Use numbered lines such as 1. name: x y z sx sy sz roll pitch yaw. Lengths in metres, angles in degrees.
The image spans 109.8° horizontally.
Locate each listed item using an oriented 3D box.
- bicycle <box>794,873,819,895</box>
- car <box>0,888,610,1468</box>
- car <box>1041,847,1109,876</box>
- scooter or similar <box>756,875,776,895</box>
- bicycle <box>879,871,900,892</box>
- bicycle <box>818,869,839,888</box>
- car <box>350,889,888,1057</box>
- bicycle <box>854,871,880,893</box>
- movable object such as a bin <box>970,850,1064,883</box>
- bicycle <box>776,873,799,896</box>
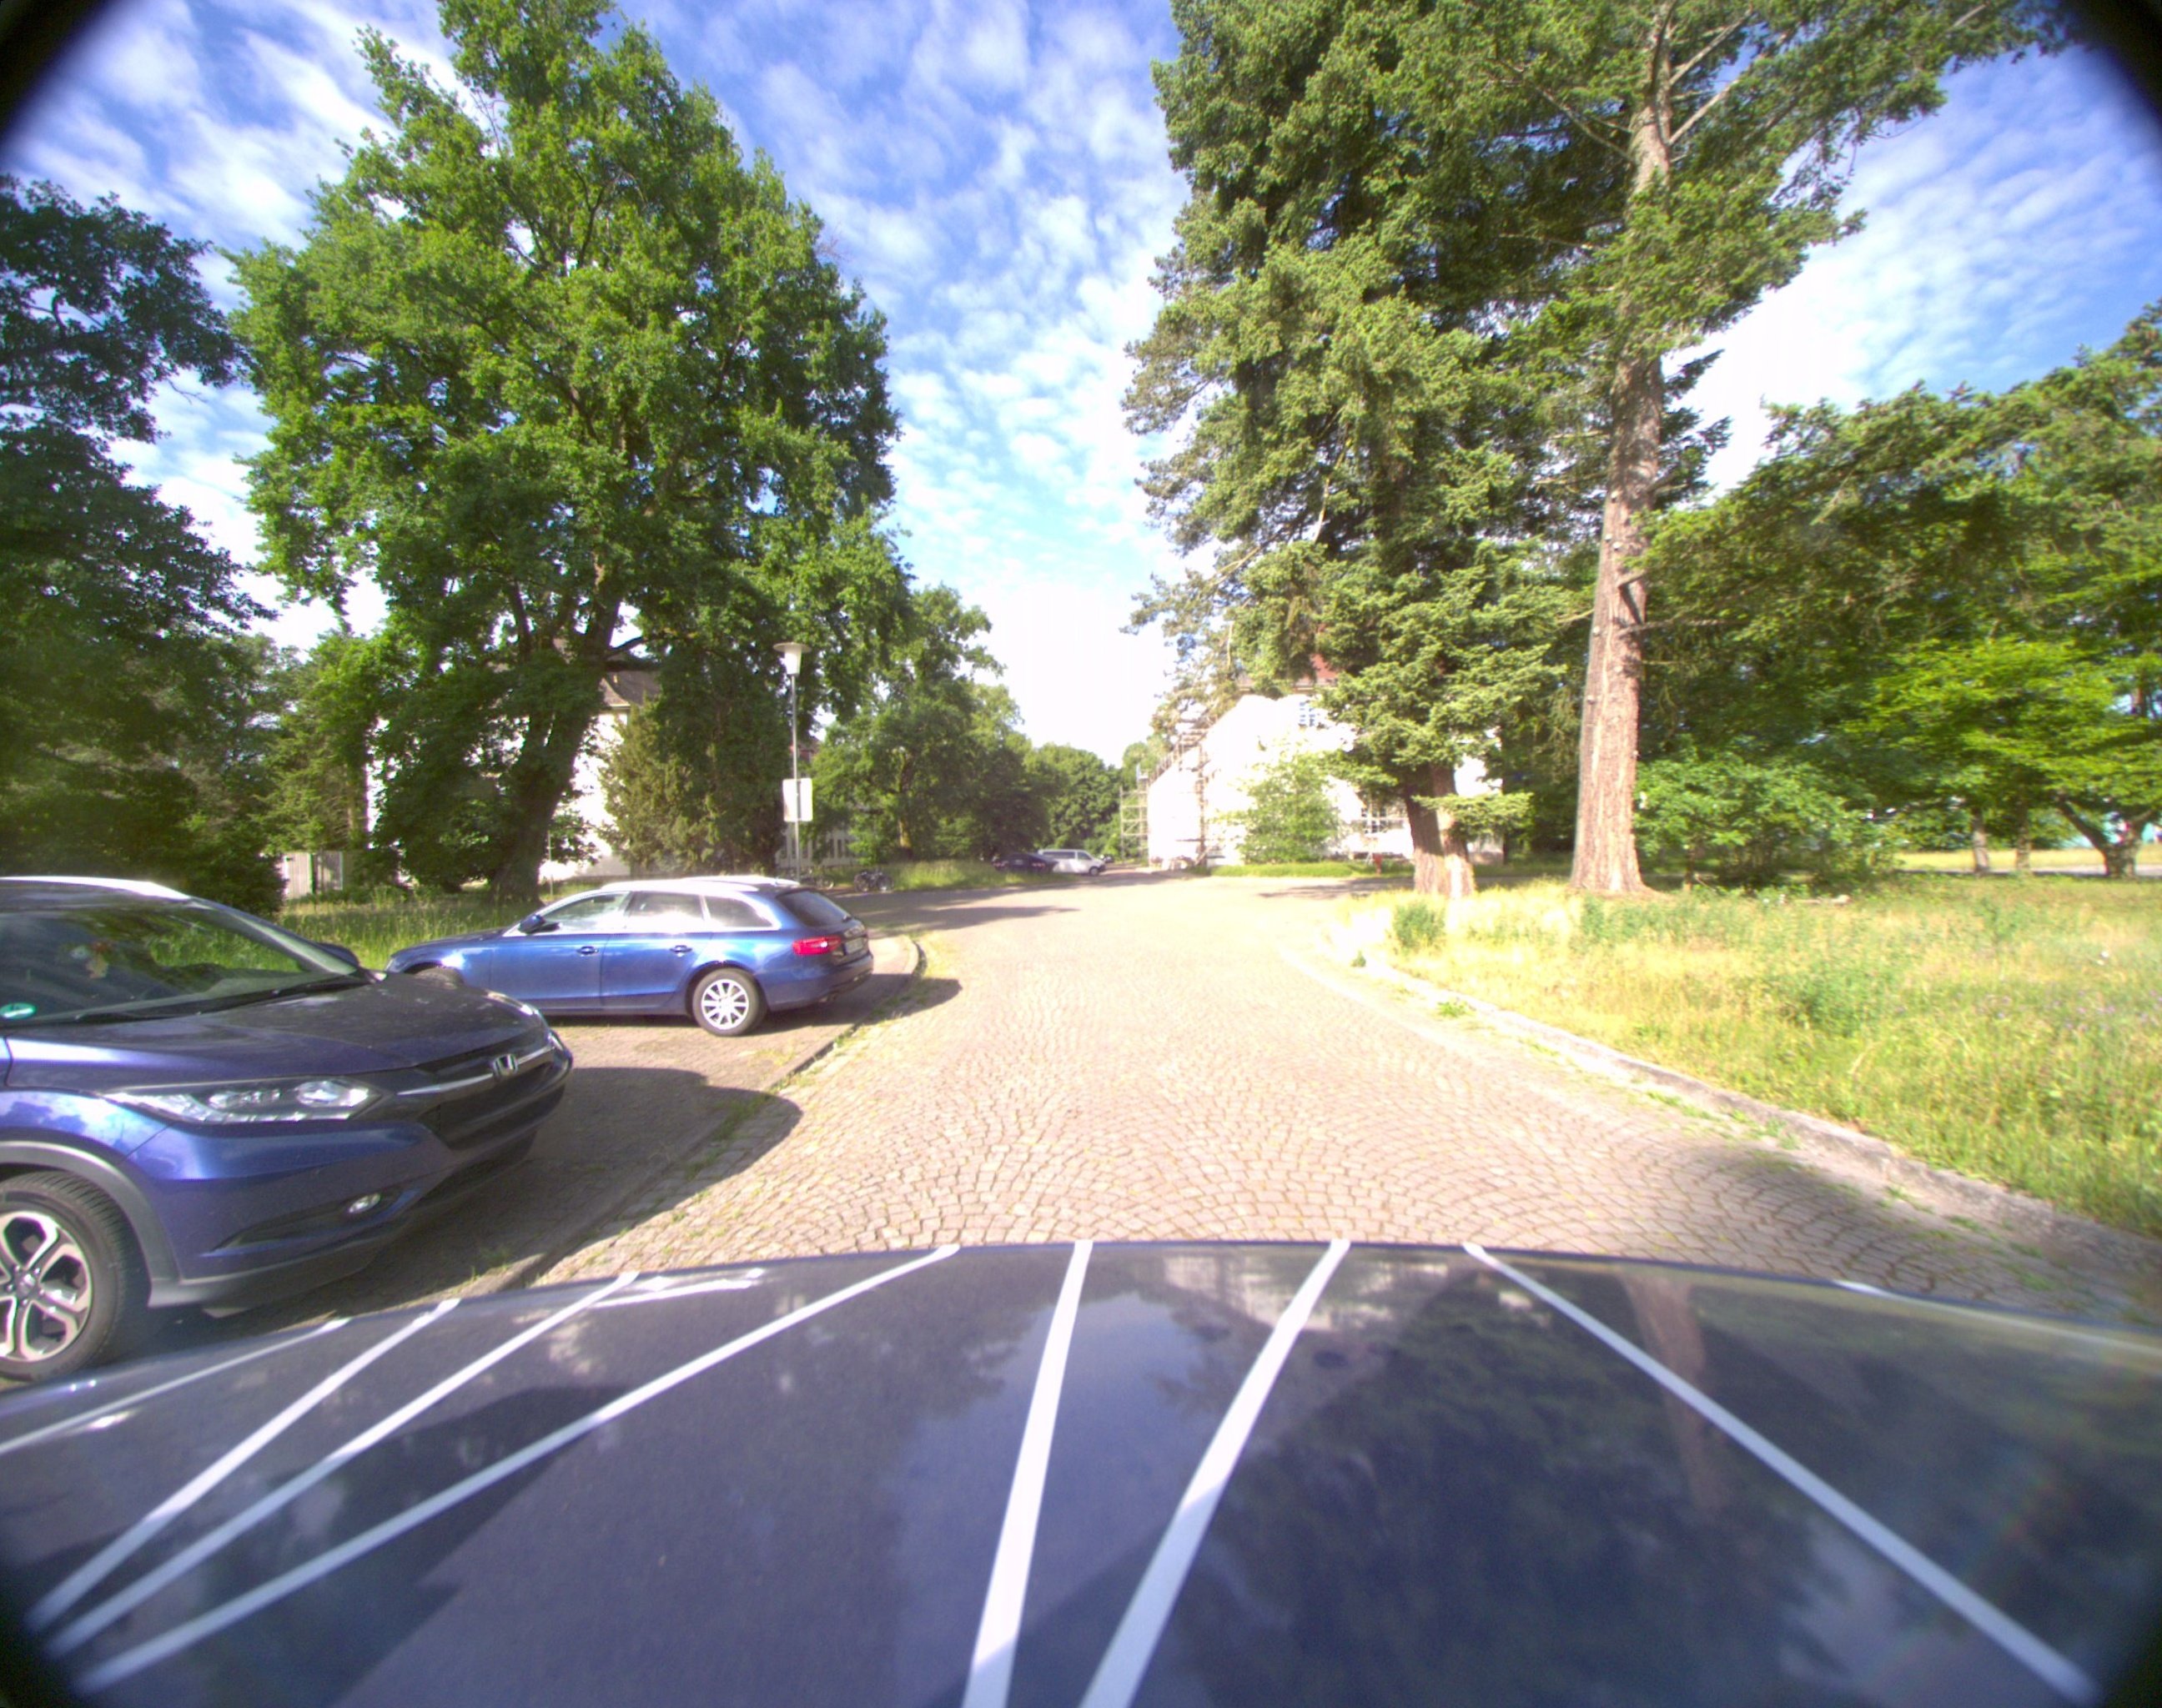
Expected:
1. bicycle: -13.364 1.434 36.986 0.710 1.010 1.028 -1 0 7
2. car: -4.559 1.017 3.048 4.187 1.581 1.751 -1 0 -1
3. car: -0.438 0.516 56.634 4.937 2.002 2.000 -1 0 0
4. scooter or similar: -14.859 1.461 35.841 0.770 0.924 0.261 -1 1 -6
5. bicycle: -9.258 1.323 36.734 0.747 0.929 1.140 -1 0 -3
6. bicycle: -13.660 1.313 41.105 0.712 1.010 1.024 -2 1 -37
7. car: -4.426 1.106 7.727 4.460 1.399 1.714 0 0 3
8. bicycle: -10.217 1.334 36.325 0.710 1.010 1.256 -1 0 7
9. movable object such as a bin: -3.658 0.715 43.614 4.931 1.749 2.002 -1 0 15
10. bicycle: -14.126 1.459 36.610 0.619 1.010 1.027 -1 0 3
